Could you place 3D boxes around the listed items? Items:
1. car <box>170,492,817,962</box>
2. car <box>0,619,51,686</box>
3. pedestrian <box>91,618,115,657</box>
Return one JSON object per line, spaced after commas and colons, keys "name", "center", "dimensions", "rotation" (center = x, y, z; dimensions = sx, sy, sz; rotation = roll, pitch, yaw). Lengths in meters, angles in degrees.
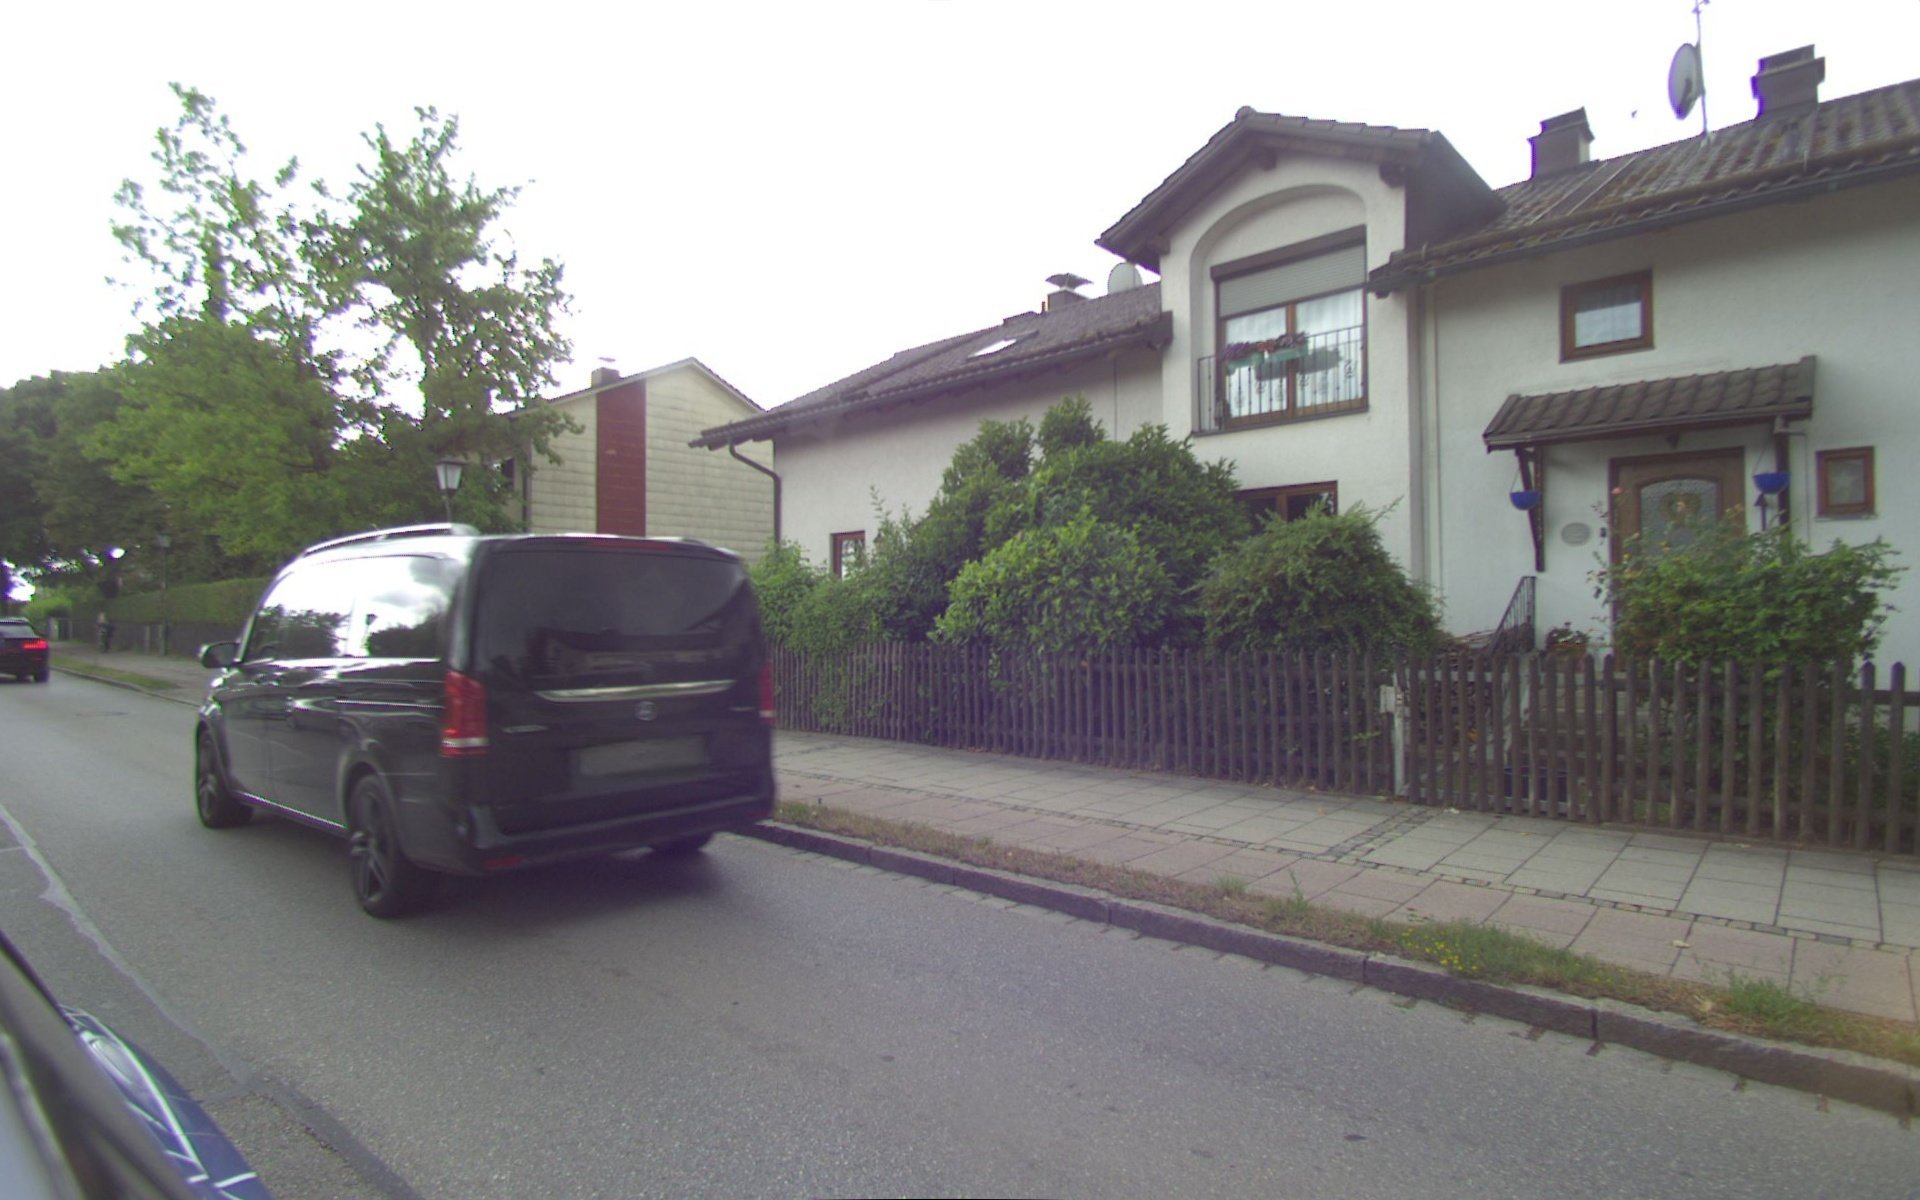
{"name": "car", "center": [-3.254, 0.551, 6.426], "dimensions": [4.946, 1.867, 1.944], "rotation": [-1, -2, 42]}
{"name": "car", "center": [-22.894, 1.199, 23.695], "dimensions": [4.546, 1.465, 1.827], "rotation": [-1, -1, 41]}
{"name": "pedestrian", "center": [-33.119, 1.442, 39.091], "dimensions": [0.563, 1.448, 0.623], "rotation": [-1, -1, 41]}
